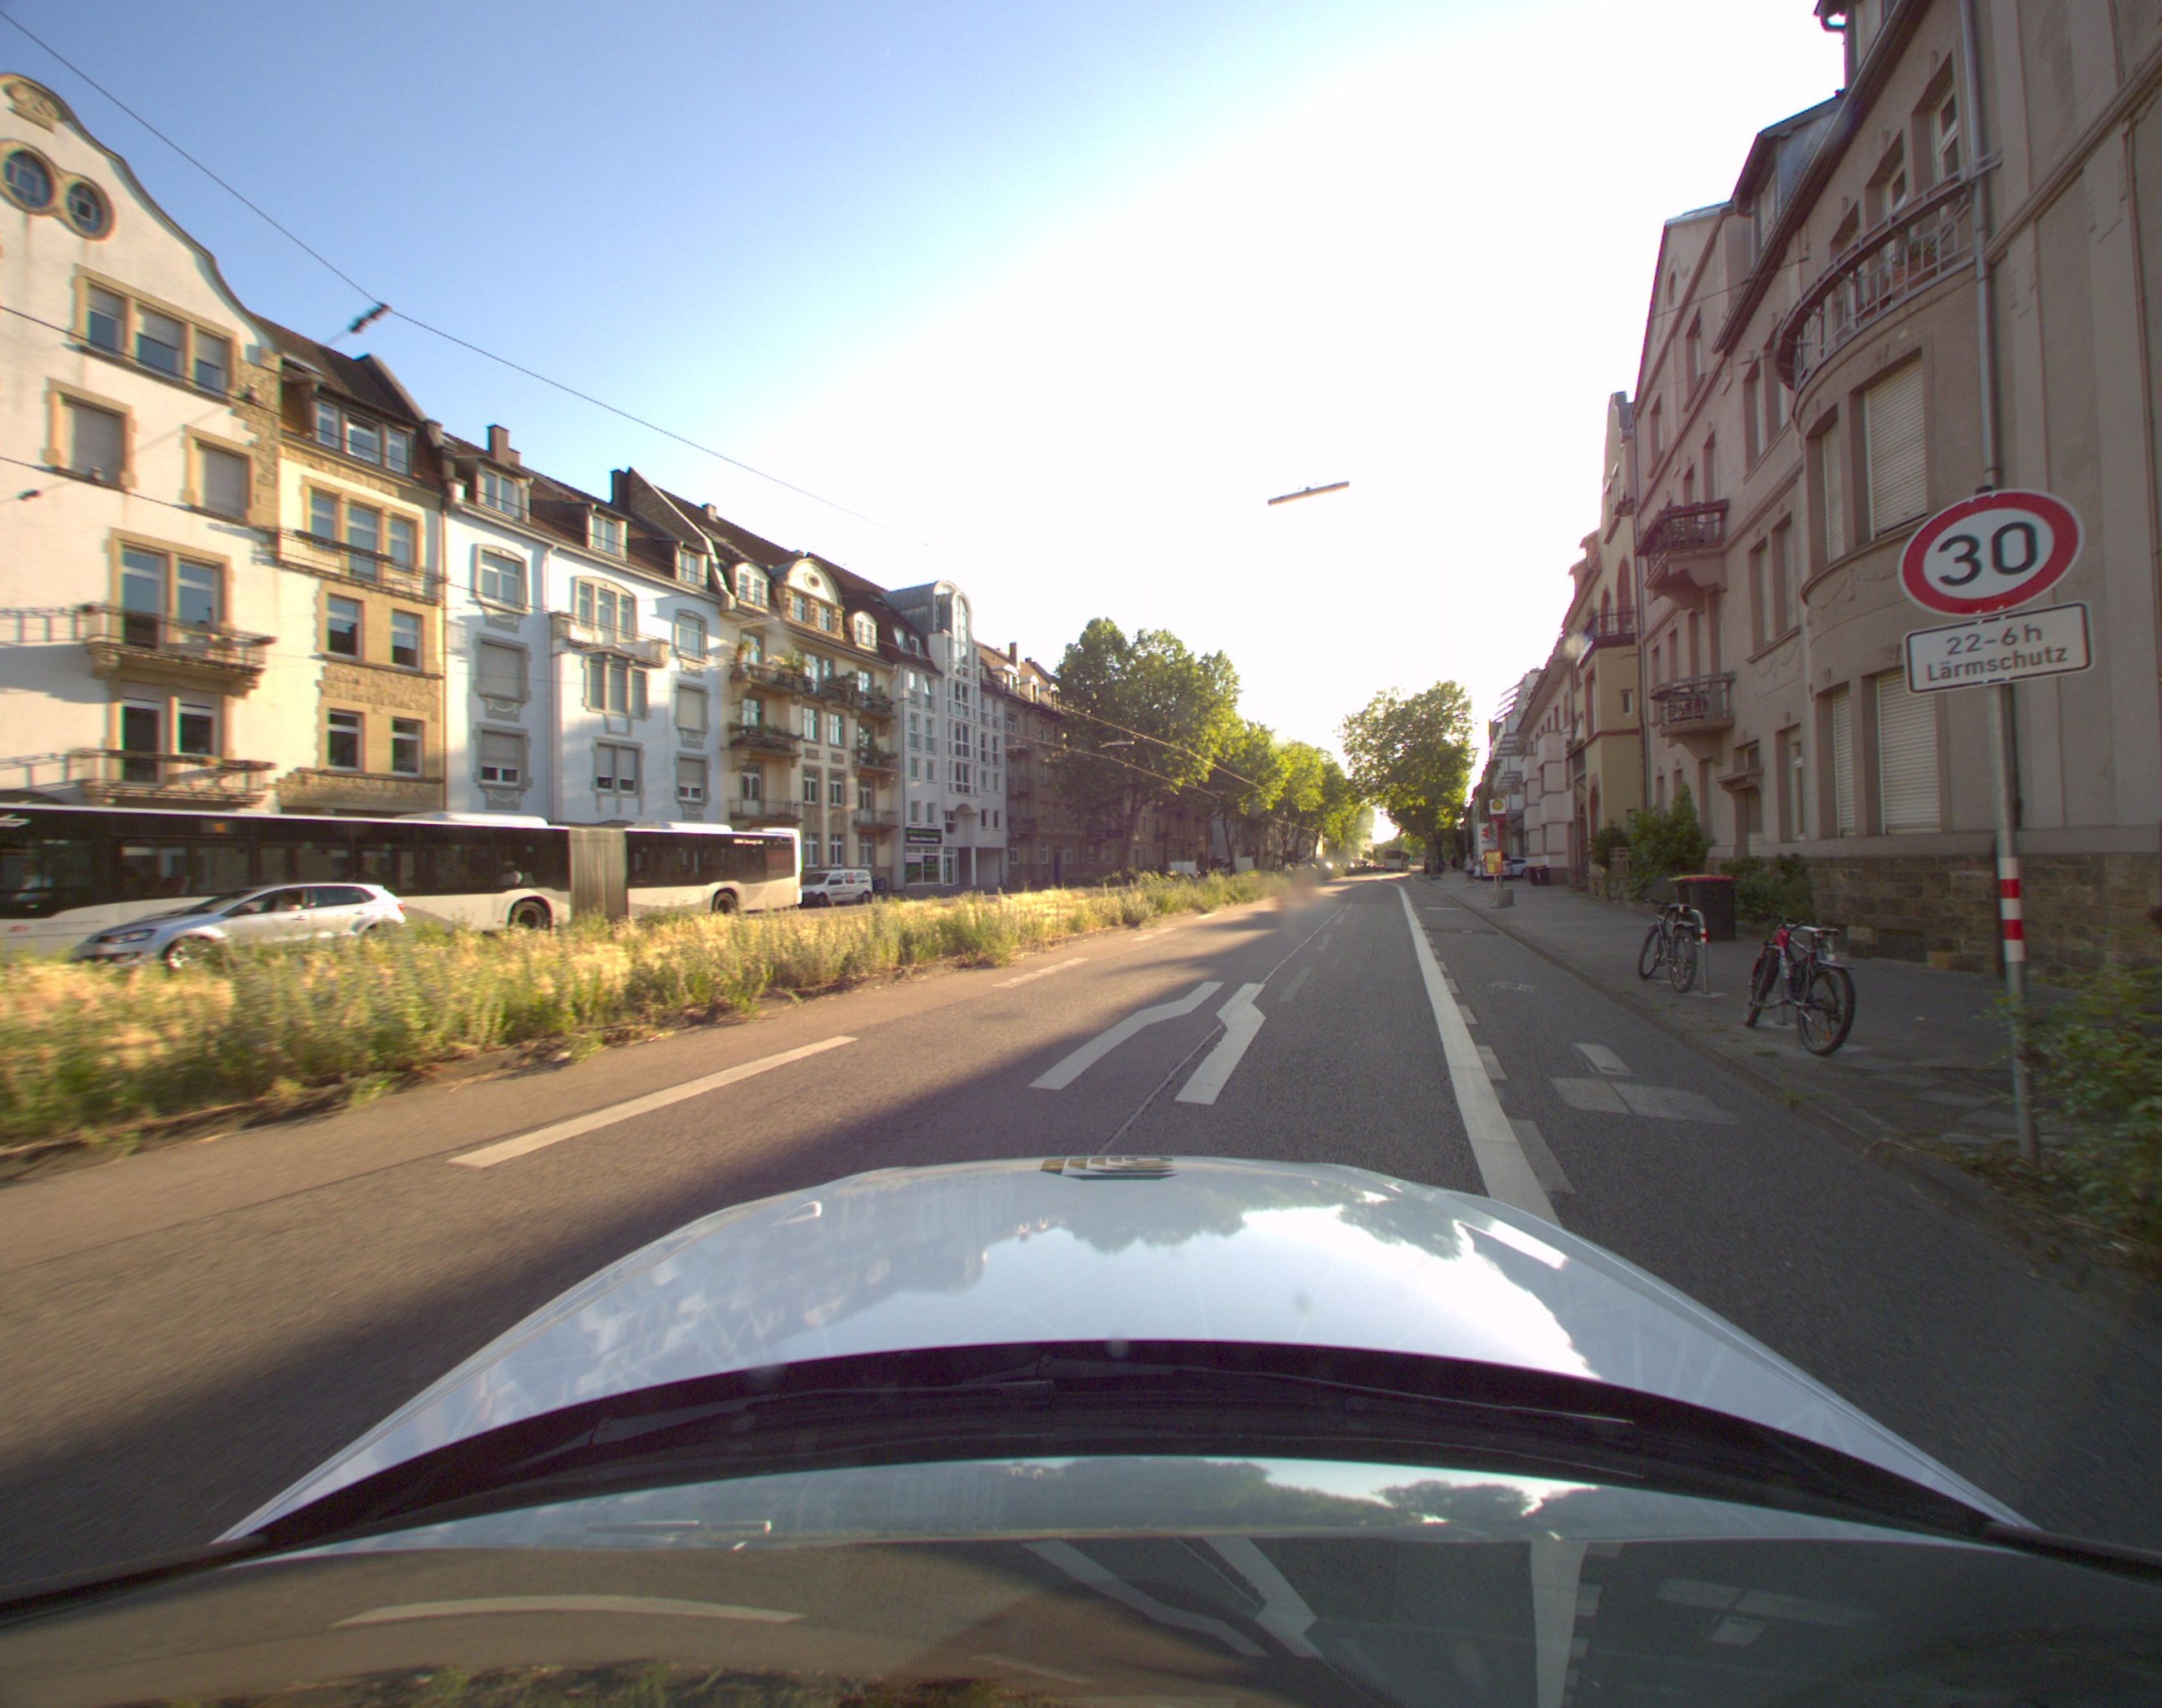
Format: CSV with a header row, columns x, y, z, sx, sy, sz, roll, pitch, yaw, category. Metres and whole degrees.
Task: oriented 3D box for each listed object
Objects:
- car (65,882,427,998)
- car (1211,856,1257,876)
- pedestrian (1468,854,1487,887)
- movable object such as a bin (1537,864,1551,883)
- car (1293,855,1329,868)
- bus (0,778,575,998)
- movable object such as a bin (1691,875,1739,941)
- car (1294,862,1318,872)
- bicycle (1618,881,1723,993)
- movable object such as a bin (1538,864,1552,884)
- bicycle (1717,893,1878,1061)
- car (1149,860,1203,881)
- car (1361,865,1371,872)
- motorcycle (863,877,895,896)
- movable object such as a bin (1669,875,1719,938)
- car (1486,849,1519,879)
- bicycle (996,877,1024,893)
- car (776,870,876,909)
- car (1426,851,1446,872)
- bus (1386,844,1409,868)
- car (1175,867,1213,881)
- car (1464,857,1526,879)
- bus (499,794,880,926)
x,y,z,sx,sy,sz,roll,pitch,yaw,category
-14.411,1.367,14.356,1.912,1.684,4.023,-2,-2,27,car
19.896,1.538,105.950,5.506,2.529,2.113,-1,-1,-19,car
21.730,0.903,44.631,0.821,1.813,1.156,-2,-2,22,pedestrian
23.727,1.010,41.755,0.548,0.969,0.588,-2,-2,26,movable object such as a bin
48.756,1.639,172.519,6.908,2.678,2.187,-1,-2,3,car
-16.440,0.648,16.874,3.236,3.374,9.954,-2,-2,24,bus
10.405,0.876,13.382,0.563,1.046,0.663,-2,-2,36,movable object such as a bin
43.526,2.511,157.735,3.984,1.699,1.851,-3,-2,-8,car
6.679,0.884,9.318,0.433,1.098,1.942,-2,-1,20,bicycle
23.441,1.006,41.177,0.548,0.969,0.588,-2,-2,26,movable object such as a bin
5.609,0.882,6.480,0.366,1.068,1.884,-2,-1,23,bicycle
9.688,1.661,82.774,5.244,2.066,1.711,-1,-1,-19,car
70.045,3.646,199.863,1.852,1.694,4.803,-2,-2,25,car
-12.084,1.933,48.779,0.523,1.021,2.433,1,0,23,motorcycle
10.592,0.891,14.090,0.649,1.046,0.663,-2,-2,36,movable object such as a bin
28.469,0.710,55.097,1.875,1.949,4.929,-2,-2,27,car
-4.921,2.116,56.345,0.750,1.033,1.907,5,2,37,bicycle
-12.255,1.682,39.461,1.887,1.787,4.680,-2,-2,26,car
40.400,0.896,92.838,1.976,2.257,5.263,-2,-2,23,car
45.483,0.384,117.031,2.809,3.236,8.224,-2,-2,22,bus
12.263,2.125,88.764,3.727,1.422,1.711,-1,-1,-19,car
30.151,1.027,59.421,3.780,1.501,1.923,-2,0,19,car
-11.852,0.327,26.992,3.225,3.374,12.044,-2,-2,25,bus
